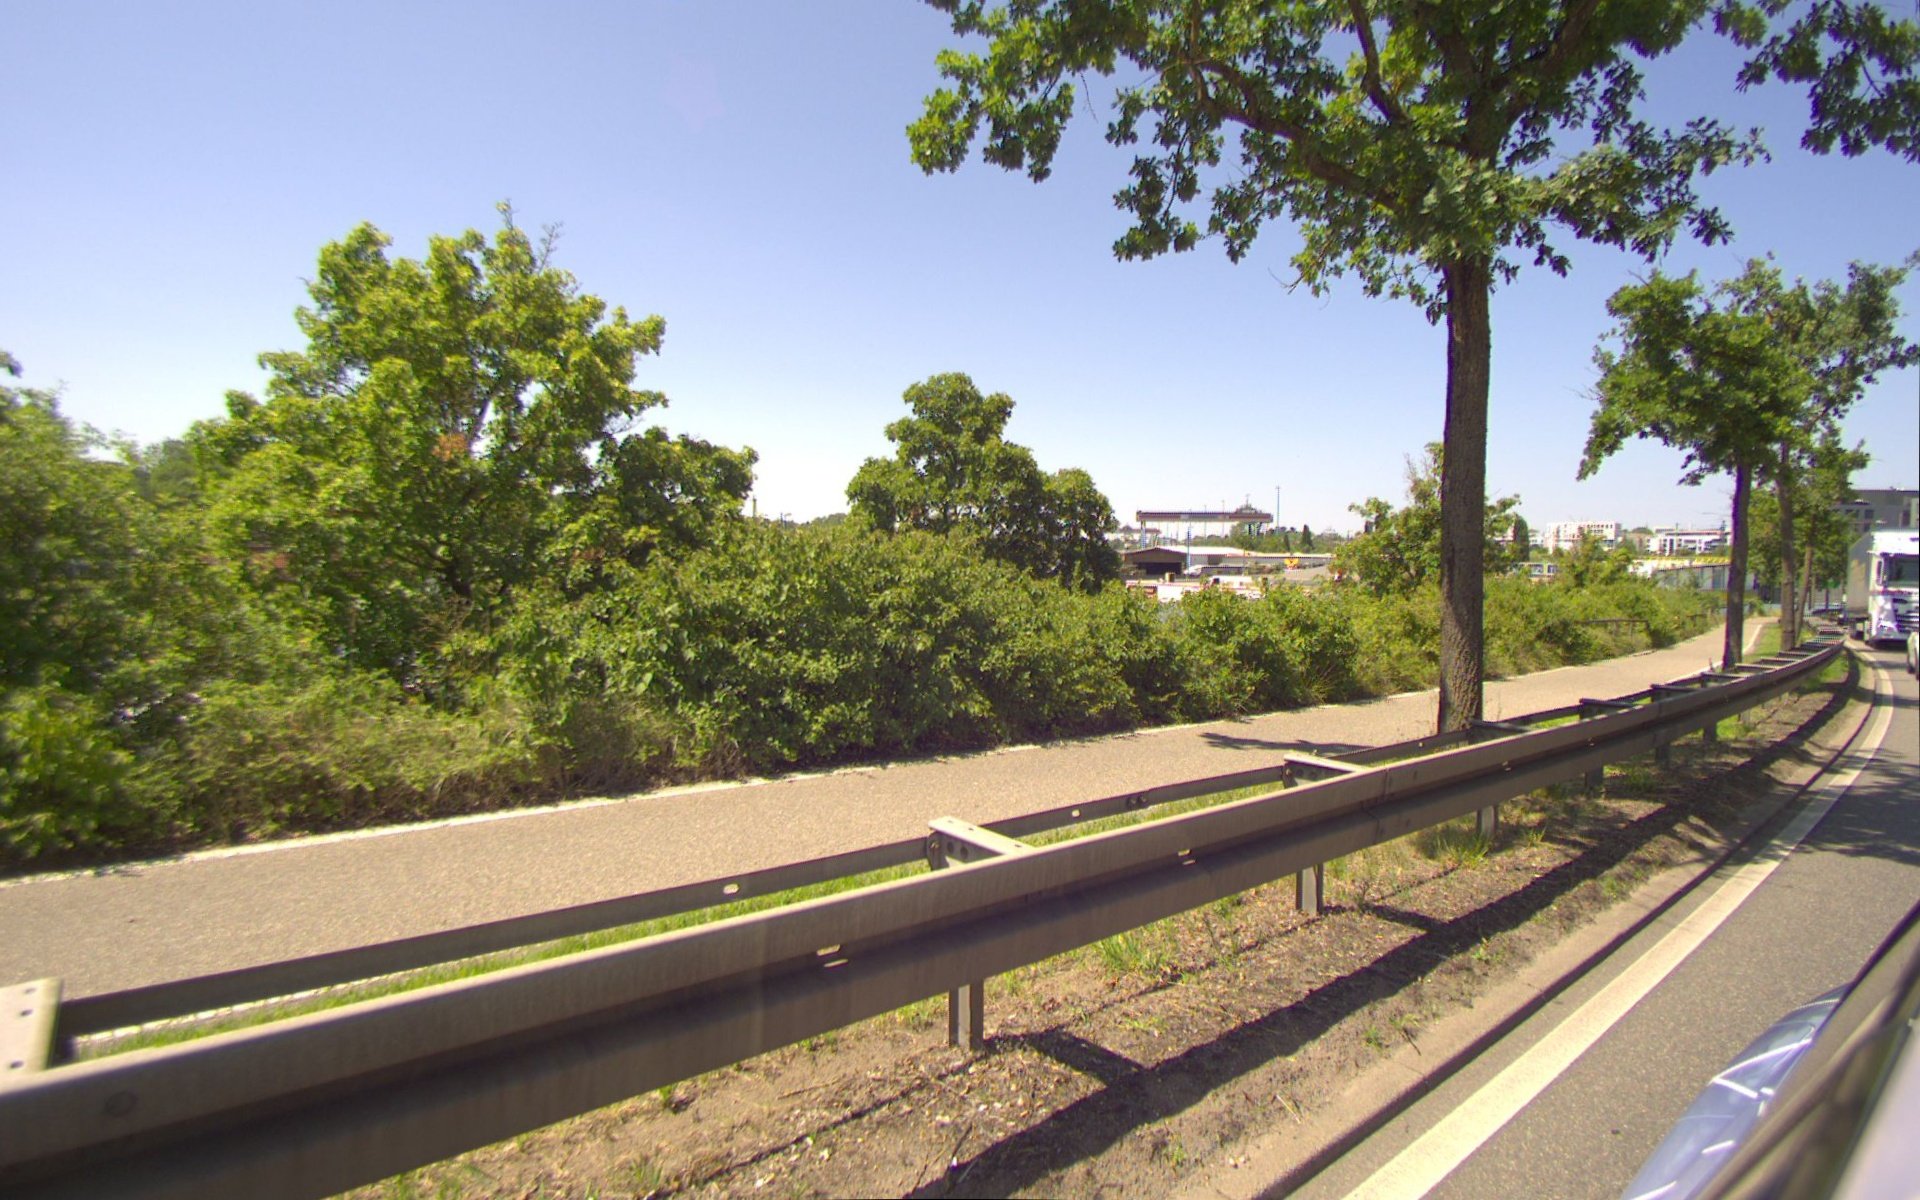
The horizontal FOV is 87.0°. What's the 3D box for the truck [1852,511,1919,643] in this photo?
[{"bbox_3d":[36.541,-0.783,38.571,3.057,4.223,16.672,0,0,39],"label":"truck"}]
